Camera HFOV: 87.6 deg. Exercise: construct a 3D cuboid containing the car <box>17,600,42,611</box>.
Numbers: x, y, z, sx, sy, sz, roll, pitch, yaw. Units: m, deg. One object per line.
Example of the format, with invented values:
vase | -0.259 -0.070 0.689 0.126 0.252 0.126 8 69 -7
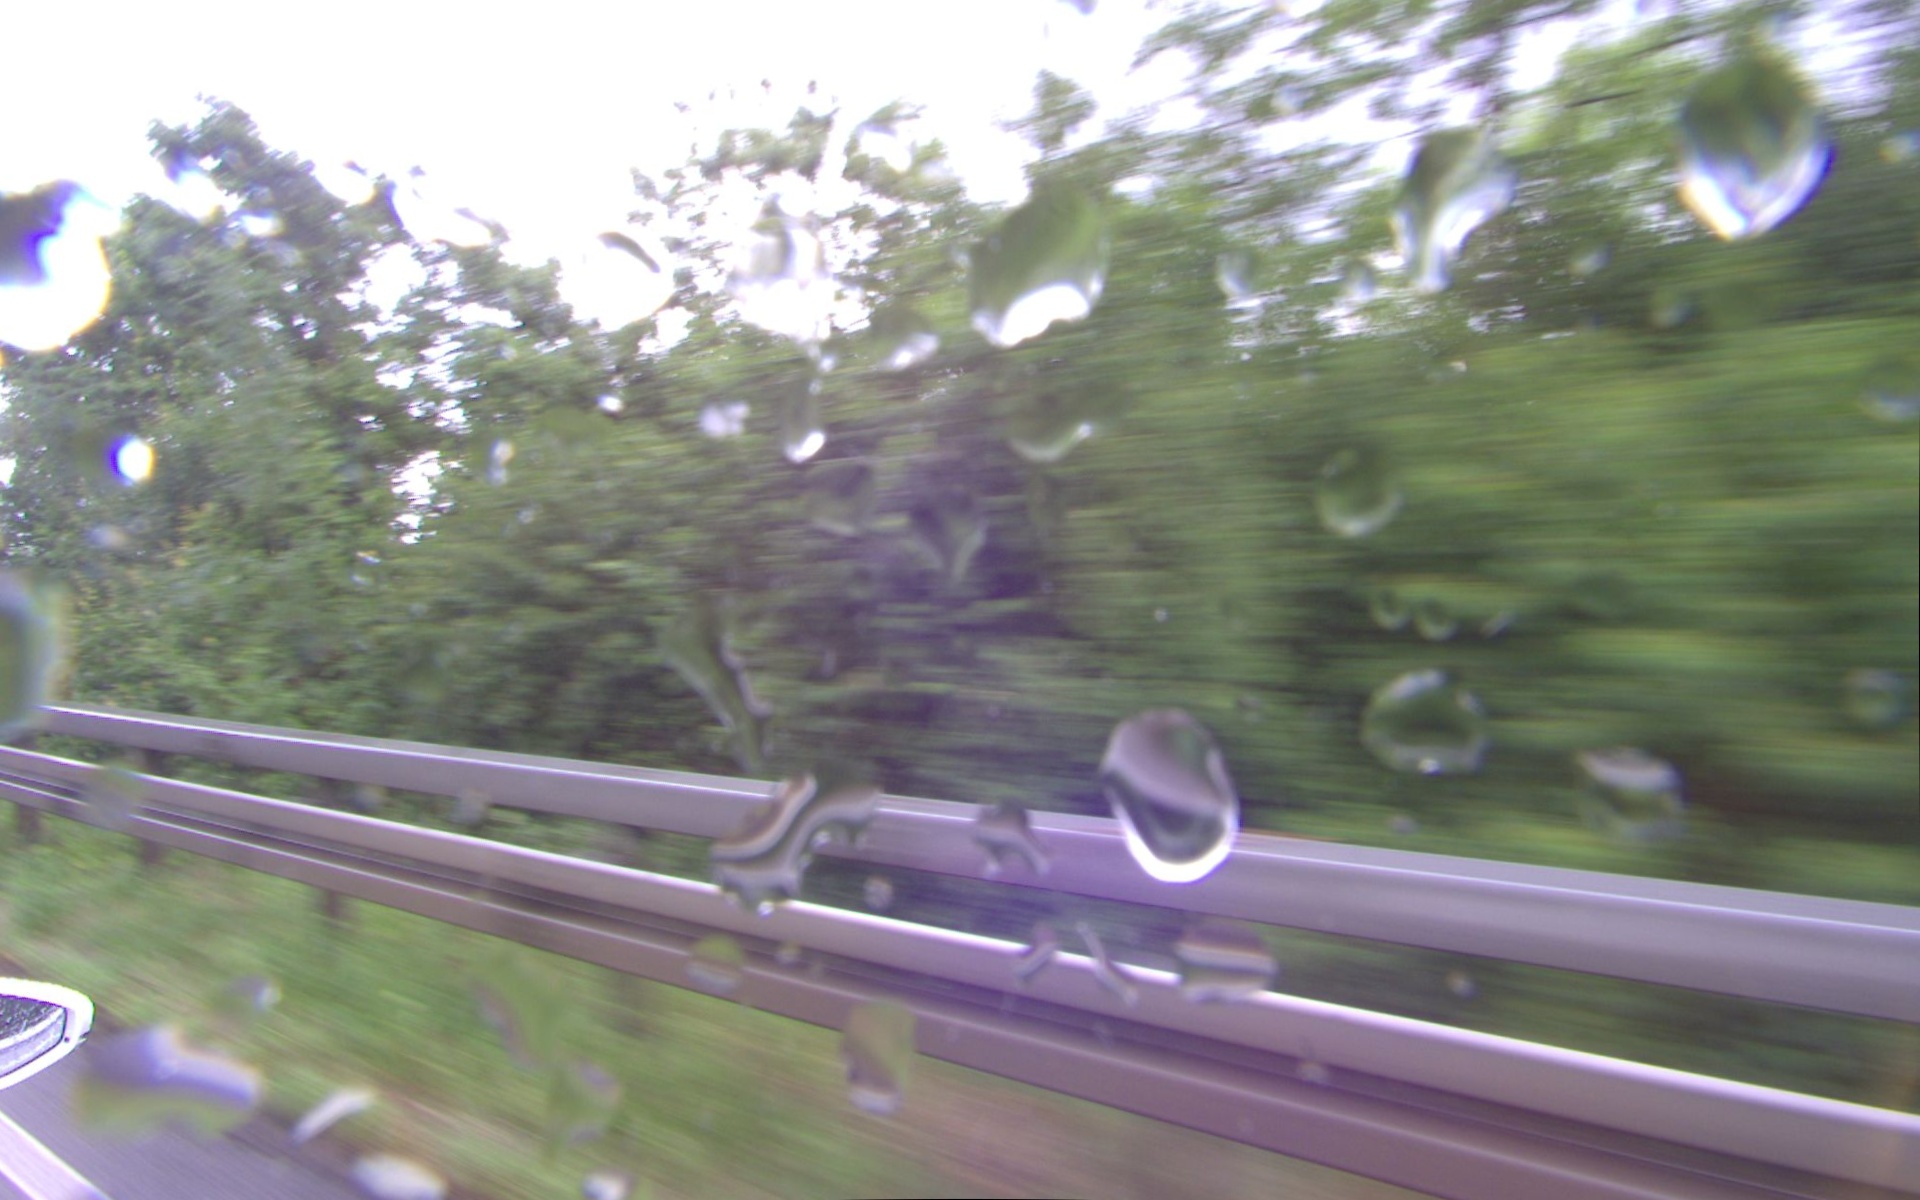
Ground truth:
car | -174.773 1.071 188.053 2.112 2.039 3.989 1 -1 -21
